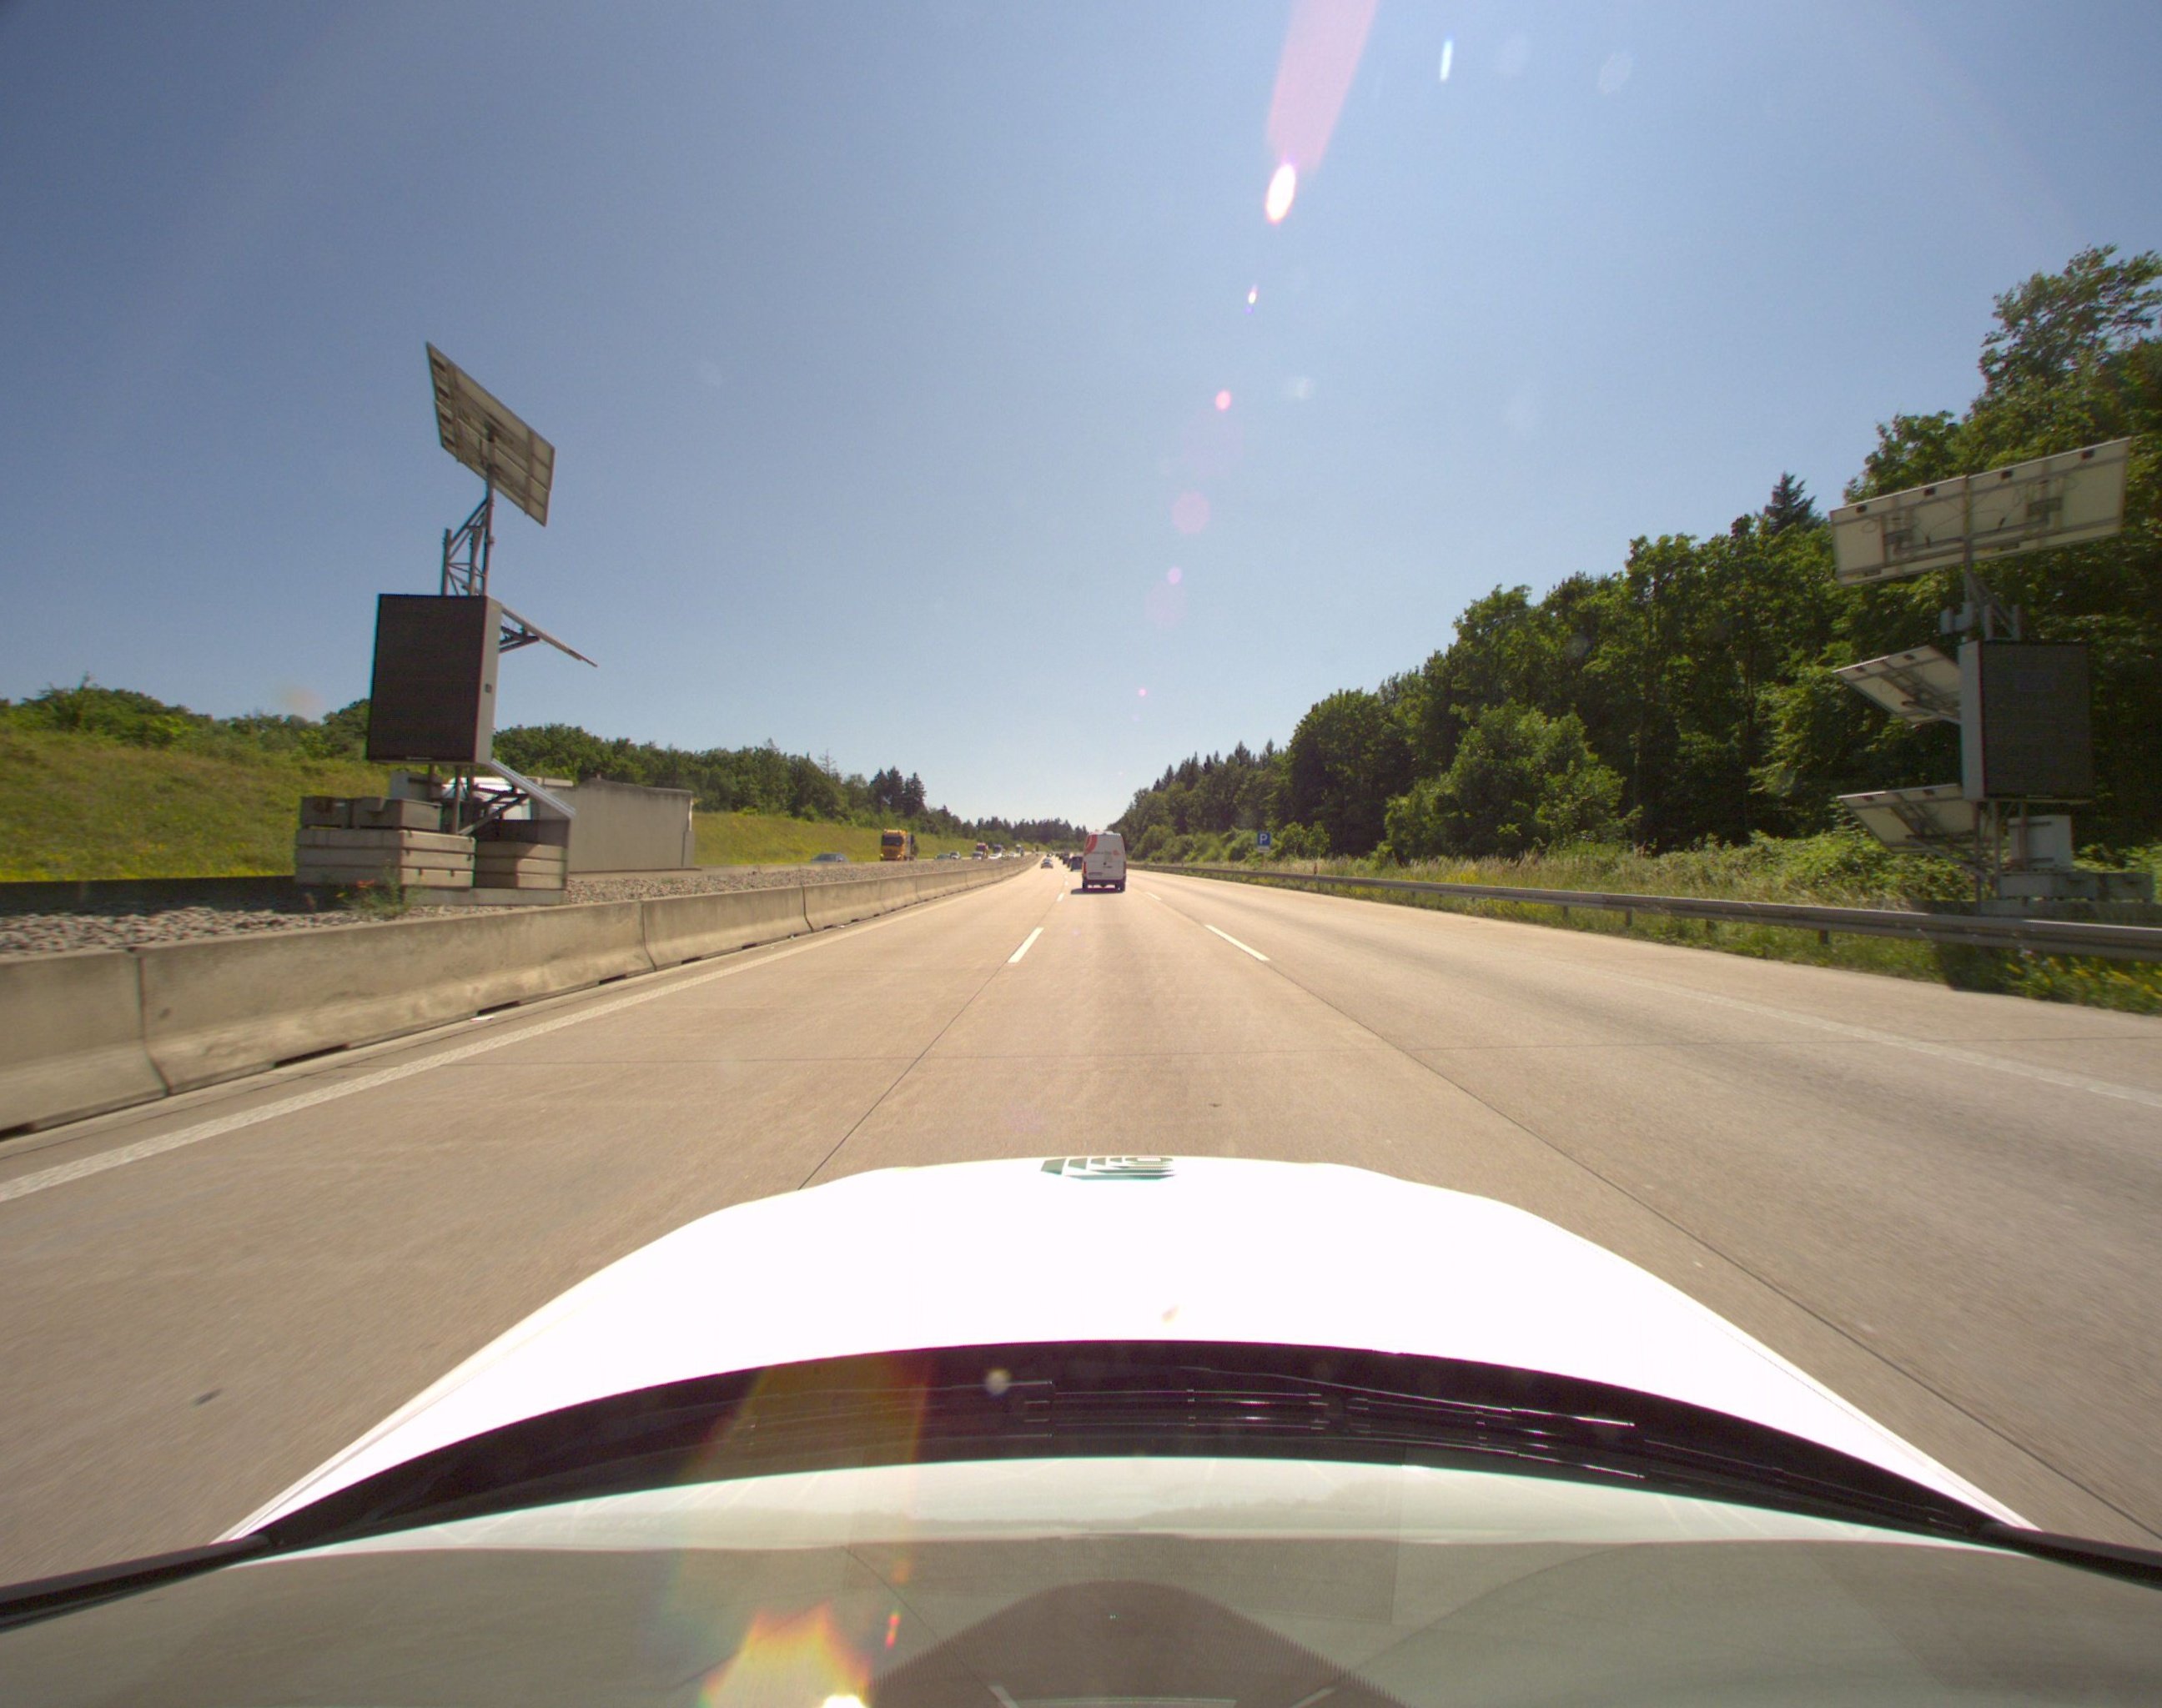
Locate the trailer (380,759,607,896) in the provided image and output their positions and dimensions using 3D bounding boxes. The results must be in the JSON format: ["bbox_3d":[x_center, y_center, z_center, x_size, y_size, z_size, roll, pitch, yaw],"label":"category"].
[{"bbox_3d":[-20.250,-0.787,28.748,2.925,4.169,6.888,2,-1,-1],"label":"trailer"}]

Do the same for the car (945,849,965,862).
[{"bbox_3d":[-19.300,0.233,125.187,2.276,2.014,4.803,-1,0,0],"label":"car"}]

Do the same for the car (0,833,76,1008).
[{"bbox_3d":[-12.669,0.717,7.421,1.986,1.882,4.001,-1,0,2],"label":"car"}]

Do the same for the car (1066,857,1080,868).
[{"bbox_3d":[-1.282,1.302,131.058,1.986,1.684,4.001,2,0,2],"label":"car"}]

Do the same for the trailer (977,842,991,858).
[{"bbox_3d":[-26.329,-1.125,221.106,2.926,4.169,9.327,2,0,-2],"label":"trailer"}]

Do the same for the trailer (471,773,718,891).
[{"bbox_3d":[-20.331,-0.738,35.713,2.925,4.169,13.184,2,0,-1],"label":"trailer"}]

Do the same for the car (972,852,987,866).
[{"bbox_3d":[-15.438,0.721,124.302,1.989,2.014,4.455,-1,0,-3],"label":"car"}]

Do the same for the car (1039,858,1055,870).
[{"bbox_3d":[-5.046,1.467,121.968,1.986,1.684,4.001,2,0,2],"label":"car"}]

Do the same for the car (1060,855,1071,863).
[{"bbox_3d":[-3.205,1.078,170.877,1.986,1.684,4.001,2,0,2],"label":"car"}]

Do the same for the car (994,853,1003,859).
[{"bbox_3d":[-22.677,0.579,223.328,1.988,1.583,4.176,1,0,-2],"label":"car"}]

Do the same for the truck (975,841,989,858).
[{"bbox_3d":[-26.146,-1.162,215.445,2.926,4.169,5.977,2,-1,-2],"label":"truck"}]

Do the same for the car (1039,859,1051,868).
[{"bbox_3d":[-7.182,1.844,162.563,1.986,1.684,4.001,2,0,2],"label":"car"}]

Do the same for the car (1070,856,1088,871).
[{"bbox_3d":[-0.235,1.110,98.447,1.986,1.684,4.001,2,0,2],"label":"car"}]

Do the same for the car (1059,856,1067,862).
[{"bbox_3d":[-5.530,1.460,250.298,1.986,1.684,4.001,2,0,2],"label":"car"}]

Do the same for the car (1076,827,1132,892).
[{"bbox_3d":[1.003,0.226,38.647,2.221,2.844,5.449,0,0,-3],"label":"car"}]

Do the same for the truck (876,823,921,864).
[{"bbox_3d":[-21.377,-1.179,95.853,2.905,4.513,11.252,-1,0,-1],"label":"truck"}]
